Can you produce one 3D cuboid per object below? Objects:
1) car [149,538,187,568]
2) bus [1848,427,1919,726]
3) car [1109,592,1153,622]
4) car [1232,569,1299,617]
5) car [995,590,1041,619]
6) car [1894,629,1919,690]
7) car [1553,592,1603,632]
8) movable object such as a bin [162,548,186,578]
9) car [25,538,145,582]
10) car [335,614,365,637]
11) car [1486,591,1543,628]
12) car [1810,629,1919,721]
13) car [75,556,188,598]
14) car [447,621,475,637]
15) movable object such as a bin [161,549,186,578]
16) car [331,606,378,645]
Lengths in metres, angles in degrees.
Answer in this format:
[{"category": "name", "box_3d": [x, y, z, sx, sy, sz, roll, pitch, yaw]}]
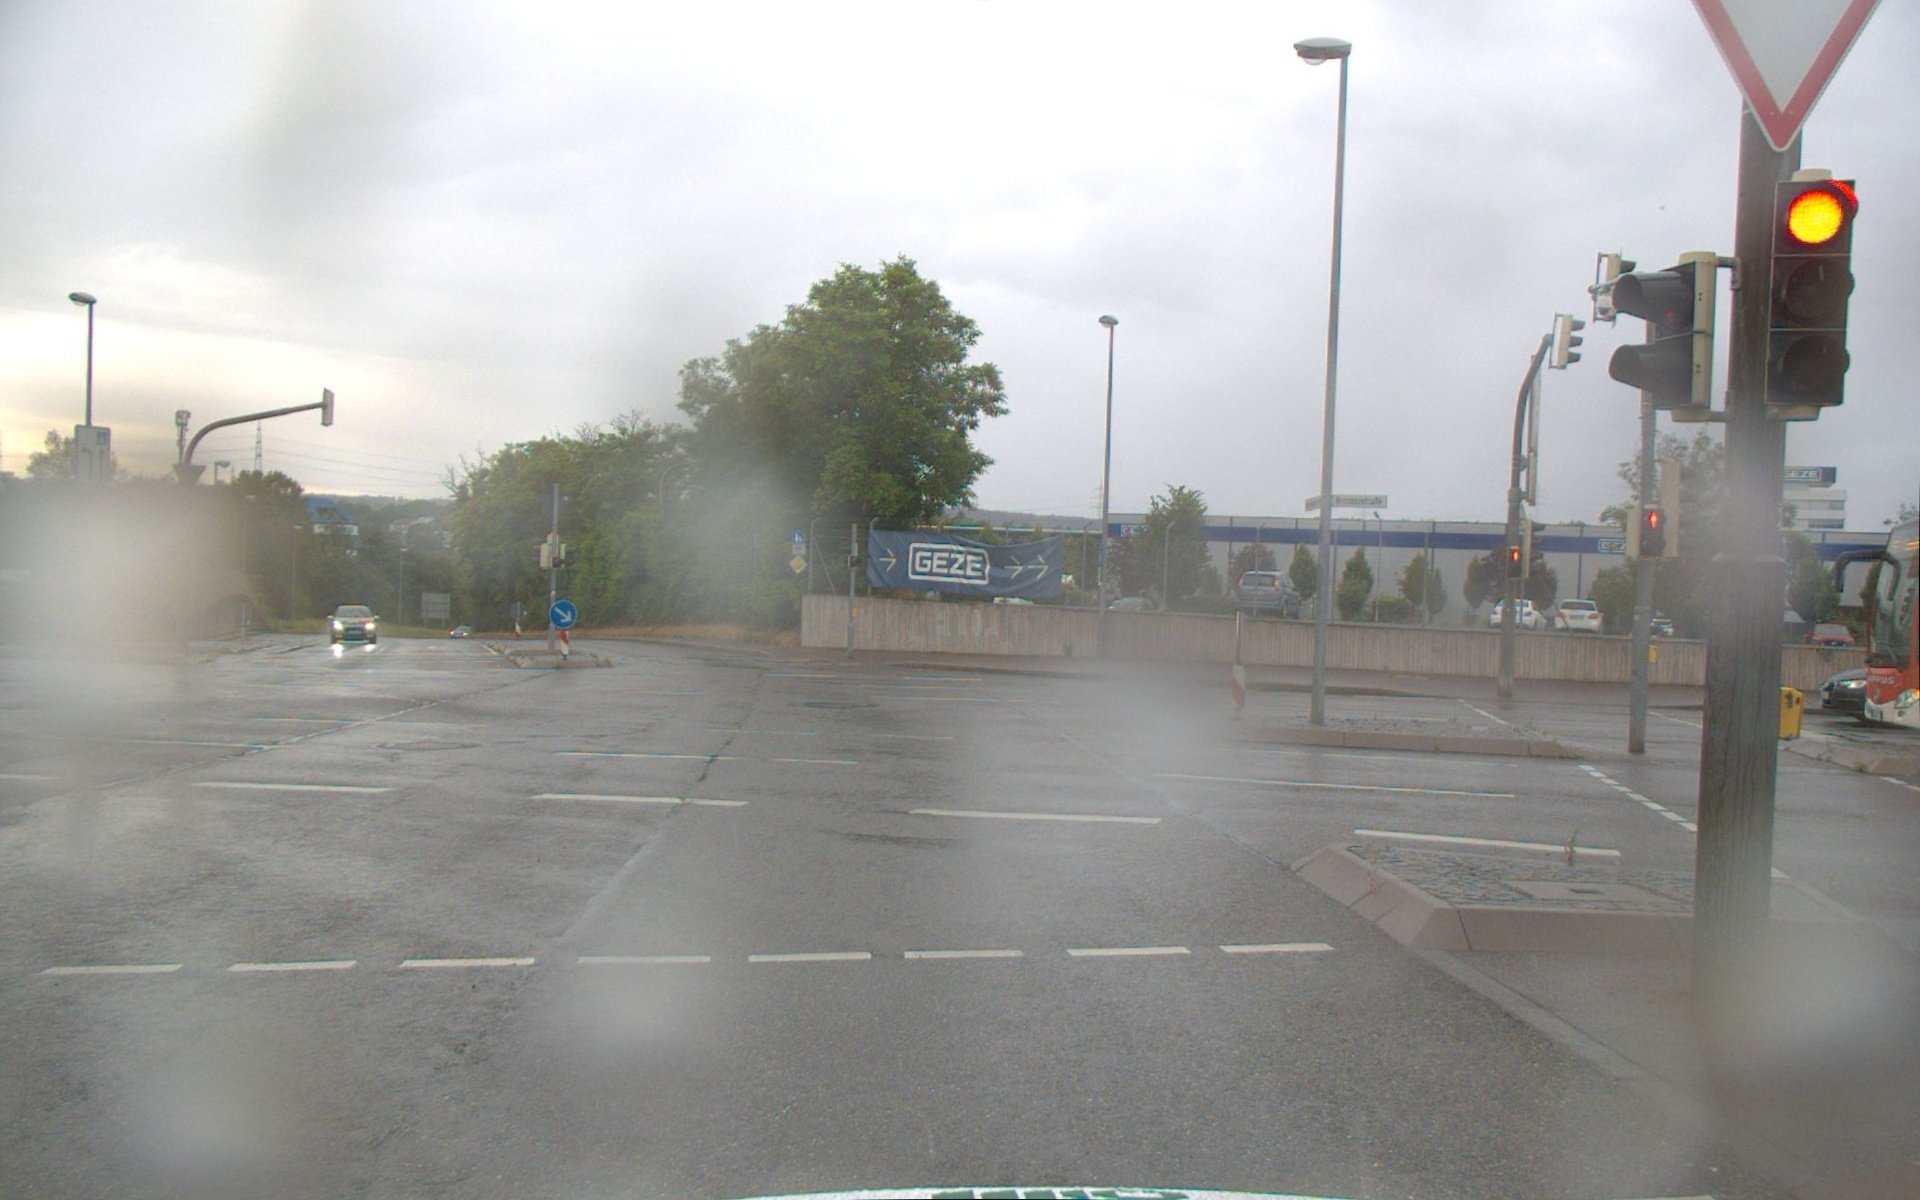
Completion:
[{"category": "car", "box_3d": [-45.479, -2.657, 94.965, 1.806, 1.467, 3.964, 3, -2, -27]}, {"category": "bus", "box_3d": [17.750, 0.037, 19.851, 11.995, 3.638, 2.988, 3, 0, 17]}, {"category": "car", "box_3d": [9.597, 0.380, 92.737, 1.632, 1.634, 3.531, 1, 0, 20]}, {"category": "car", "box_3d": [10.656, -0.226, 57.598, 1.707, 1.580, 3.531, 1, 0, 20]}, {"category": "car", "box_3d": [3.361, 0.288, 95.946, 1.632, 1.634, 3.531, 1, 0, 20]}, {"category": "car", "box_3d": [34.062, 2.081, 57.945, 1.707, 2.049, 3.824, 1, 0, 20]}, {"category": "car", "box_3d": [25.458, 0.487, 68.100, 1.820, 1.552, 4.103, 1, 0, 22]}, {"category": "movable object such as a bin", "box_3d": [-40.954, -1.909, 86.167, 1.071, 1.462, 1.434, 3, -2, -27]}, {"category": "car", "box_3d": [-35.842, -1.621, 67.827, 3.902, 1.614, 1.903, 1, -2, 8]}, {"category": "car", "box_3d": [-40.819, 1.700, 110.651, 1.693, 1.521, 3.979, 1, -1, -18]}, {"category": "car", "box_3d": [23.042, 0.402, 68.695, 1.781, 1.459, 4.100, 1, 0, 25]}, {"category": "car", "box_3d": [16.284, 1.234, 26.671, 4.286, 1.378, 1.827, 2, 0, 16]}, {"category": "car", "box_3d": [-35.287, -0.992, 70.503, 3.902, 1.614, 1.903, 1, -2, 12]}, {"category": "car", "box_3d": [-49.402, 2.870, 163.670, 1.861, 1.481, 3.996, 1, 0, -5]}, {"category": "movable object such as a bin", "box_3d": [-41.606, -1.916, 87.473, 1.071, 1.462, 1.434, 3, -2, -27]}, {"category": "car", "box_3d": [-24.345, 1.016, 66.421, 1.638, 1.521, 3.973, 1, -1, -22]}]
